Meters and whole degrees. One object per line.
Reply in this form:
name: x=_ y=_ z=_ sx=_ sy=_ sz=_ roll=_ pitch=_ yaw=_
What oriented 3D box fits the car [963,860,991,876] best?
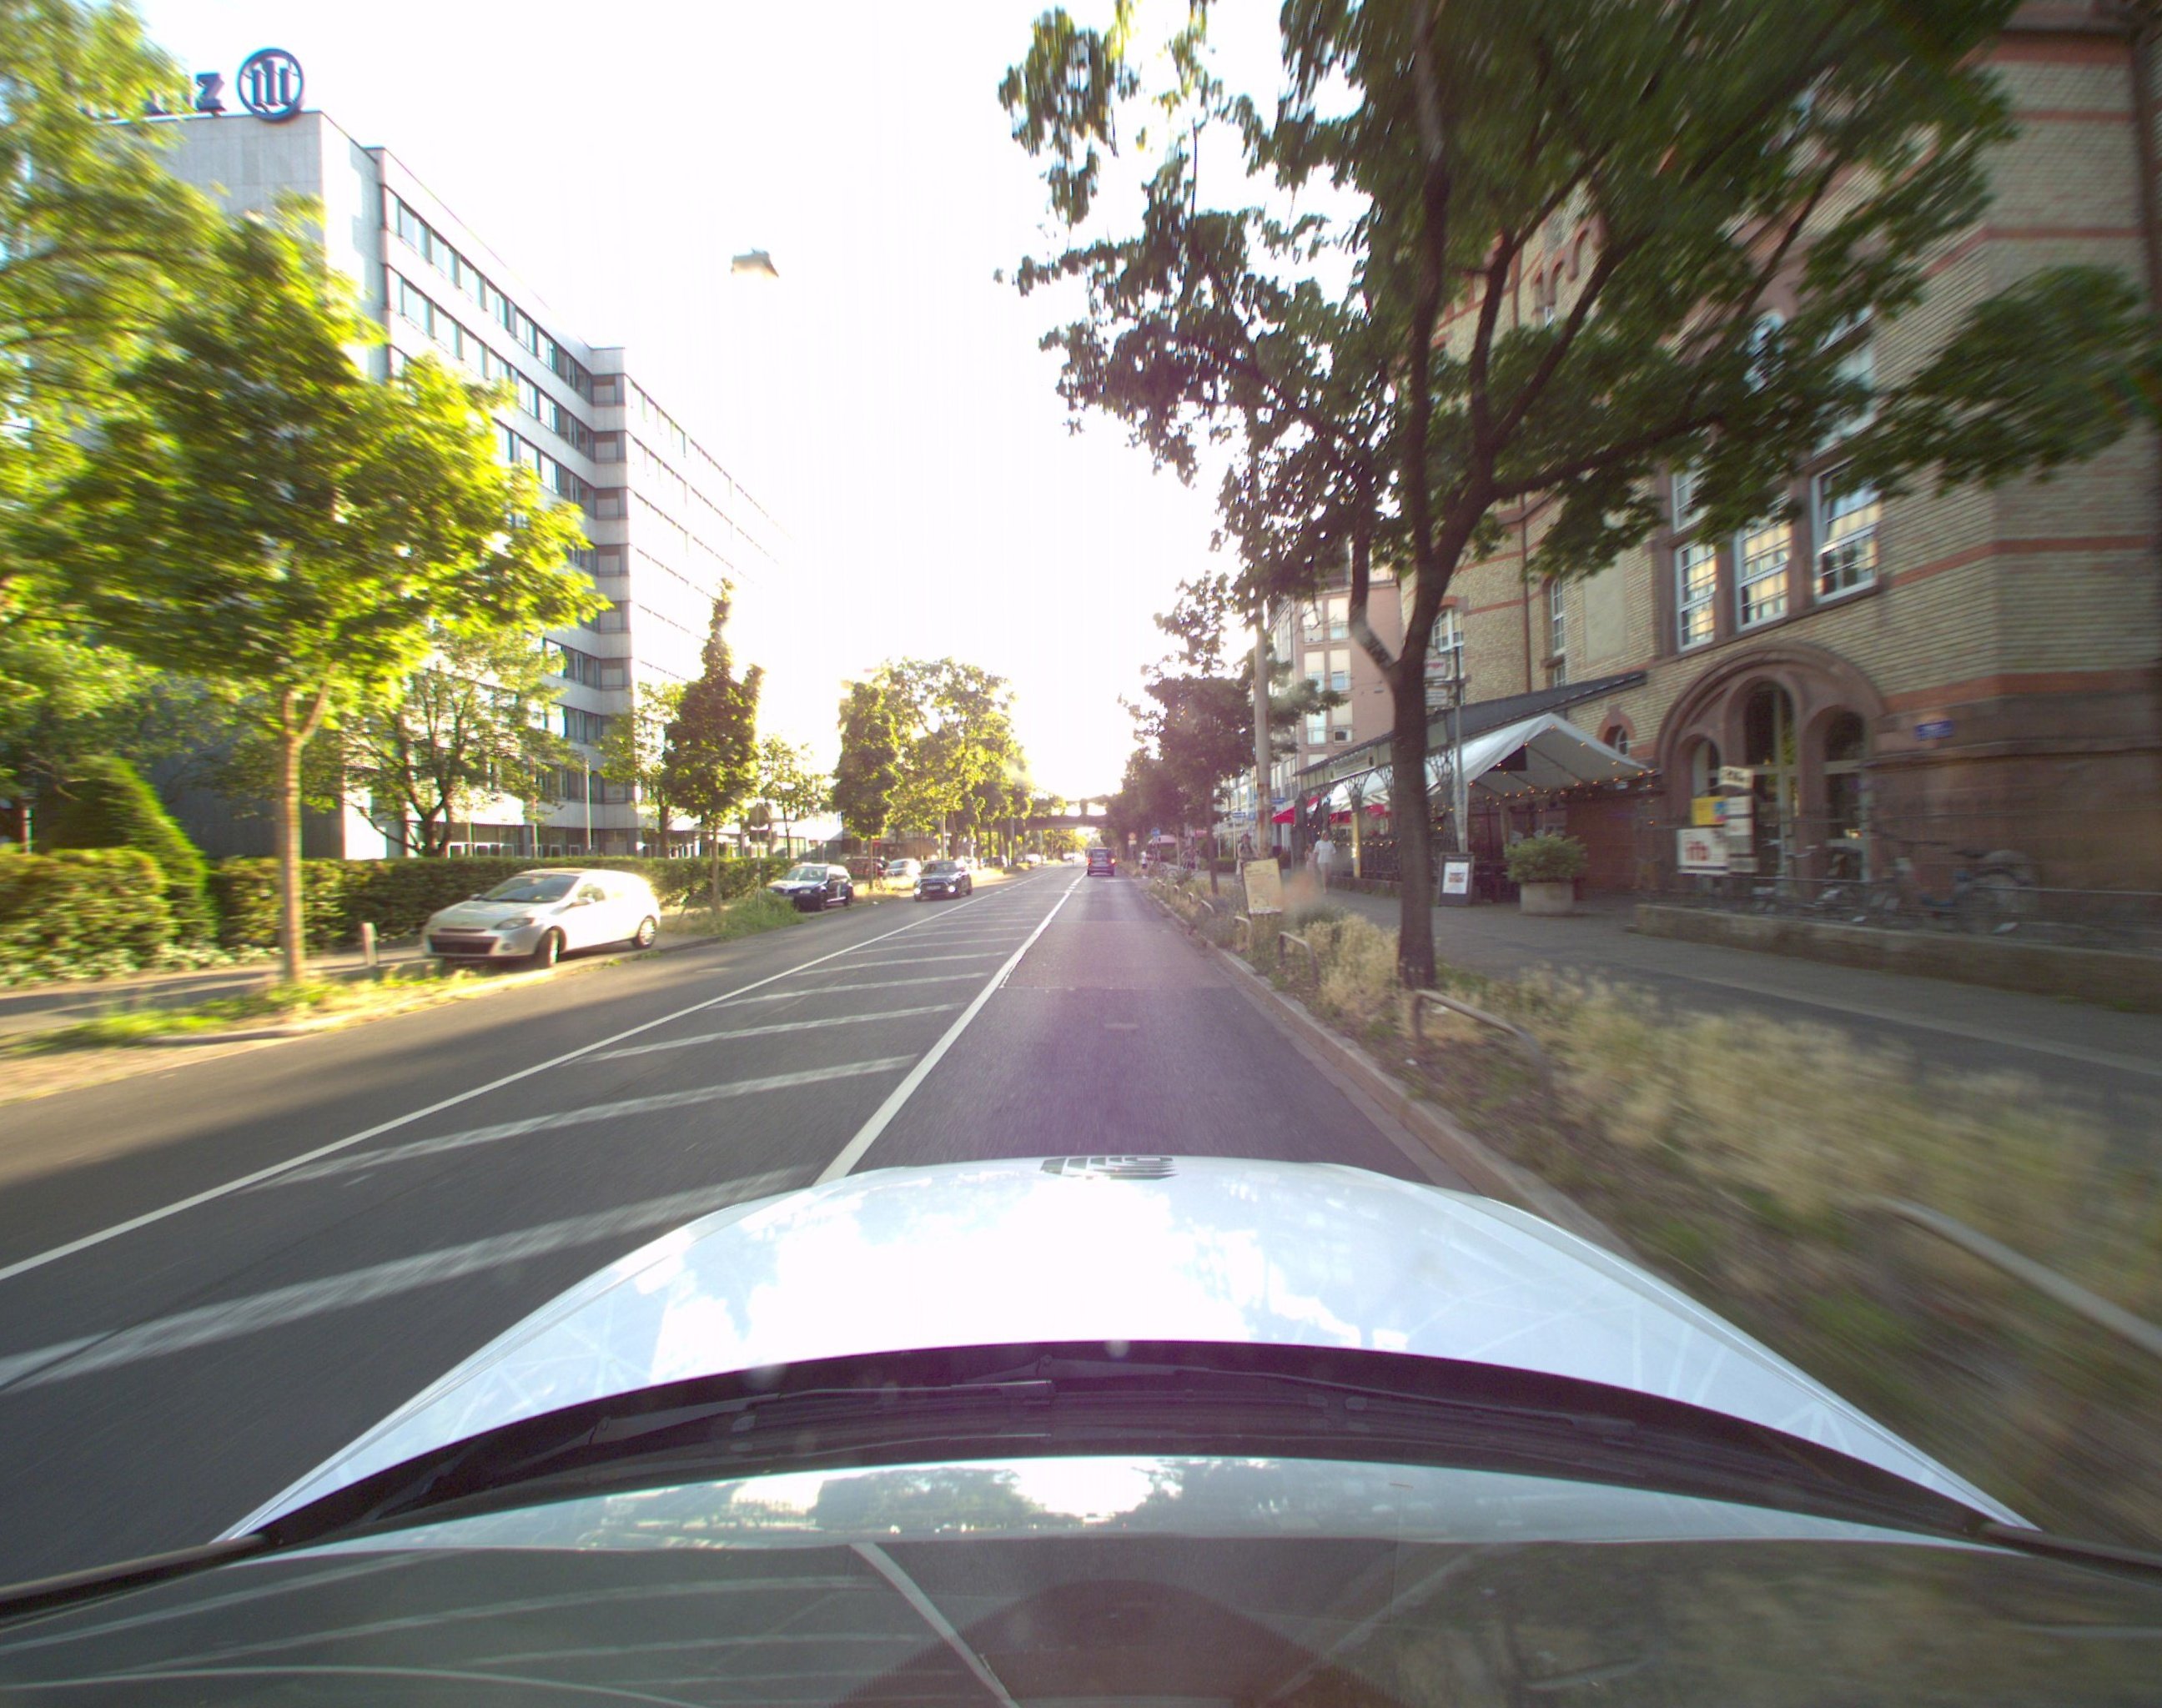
car: x=-9.924 y=1.343 z=77.747 sx=1.986 sy=1.414 sz=4.238 roll=0 pitch=0 yaw=1

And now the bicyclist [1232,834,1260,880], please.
bicyclist: x=4.548 y=0.084 z=22.476 sx=0.583 sy=1.236 sz=1.112 roll=0 pitch=0 yaw=1

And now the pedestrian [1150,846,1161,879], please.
pedestrian: x=4.321 y=0.501 z=47.326 sx=0.505 sy=1.889 sz=0.543 roll=0 pitch=0 yaw=-14

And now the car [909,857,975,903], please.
car: x=-5.245 y=0.938 z=31.223 sx=1.673 sy=1.530 sz=4.001 roll=-3 pitch=0 yaw=1

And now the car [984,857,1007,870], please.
car: x=-9.627 y=1.007 z=91.927 sx=1.986 sy=1.414 sz=4.238 roll=0 pitch=0 yaw=1

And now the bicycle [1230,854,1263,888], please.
bicycle: x=4.546 y=0.442 z=22.443 sx=0.577 sy=0.897 sz=1.988 roll=0 pitch=0 yaw=2

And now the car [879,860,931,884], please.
car: x=-10.223 y=1.036 z=47.596 sx=1.986 sy=1.310 sz=4.067 roll=0 pitch=0 yaw=1

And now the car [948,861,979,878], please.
car: x=-10.181 y=1.331 z=70.934 sx=1.986 sy=1.414 sz=4.238 roll=0 pitch=0 yaw=1

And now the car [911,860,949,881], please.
car: x=-10.045 y=1.060 z=54.518 sx=1.665 sy=1.314 sz=3.966 roll=0 pitch=0 yaw=1

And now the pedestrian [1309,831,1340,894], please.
pedestrian: x=6.353 y=0.217 z=21.283 sx=0.642 sy=1.633 sz=0.656 roll=0 pitch=0 yaw=1

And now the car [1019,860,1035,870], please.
car: x=-8.283 y=1.667 z=125.671 sx=1.986 sy=1.414 sz=4.238 roll=0 pitch=0 yaw=1

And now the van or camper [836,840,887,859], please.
van or camper: x=-31.027 y=-0.621 z=115.402 sx=6.543 sy=2.522 sz=2.448 roll=0 pitch=0 yaw=-1

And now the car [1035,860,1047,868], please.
car: x=-7.653 y=1.976 z=157.487 sx=1.986 sy=1.414 sz=4.238 roll=0 pitch=0 yaw=1

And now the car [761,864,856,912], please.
car: x=-8.580 y=1.027 z=25.957 sx=1.632 sy=1.385 sz=4.000 roll=0 pitch=0 yaw=0

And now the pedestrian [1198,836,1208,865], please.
pedestrian: x=10.541 y=-0.291 z=70.322 sx=0.712 sy=2.539 sz=0.824 roll=0 pitch=0 yaw=1

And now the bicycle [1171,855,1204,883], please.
bicycle: x=4.751 y=0.652 z=36.109 sx=0.541 sy=1.226 sz=2.000 roll=0 pitch=0 yaw=37

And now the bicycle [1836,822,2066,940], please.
bicycle: x=8.630 y=0.258 z=8.116 sx=1.726 sy=1.137 sz=0.493 roll=0 pitch=0 yaw=2

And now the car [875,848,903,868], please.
car: x=-22.898 y=0.499 z=97.358 sx=1.986 sy=2.307 sz=5.247 roll=0 pitch=0 yaw=2

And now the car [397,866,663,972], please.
car: x=-8.875 y=0.953 z=13.604 sx=1.691 sy=1.451 sz=4.000 roll=0 pitch=0 yaw=0

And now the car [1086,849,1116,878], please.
car: x=1.416 y=0.628 z=56.380 sx=1.880 sy=1.925 sz=3.841 roll=-2 pitch=0 yaw=2

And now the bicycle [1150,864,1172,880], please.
bicycle: x=4.704 y=1.043 z=48.108 sx=0.590 sy=0.897 sz=1.975 roll=0 pitch=0 yaw=-18

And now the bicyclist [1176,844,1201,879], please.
bicyclist: x=4.771 y=0.327 z=36.110 sx=0.744 sy=1.558 sz=0.944 roll=0 pitch=0 yaw=38

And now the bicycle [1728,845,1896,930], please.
bicycle: x=8.385 y=0.369 z=9.374 sx=1.439 sy=0.946 sz=0.535 roll=0 pitch=0 yaw=2

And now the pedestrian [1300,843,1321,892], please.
pedestrian: x=6.388 y=0.361 z=22.670 sx=0.465 sy=1.350 sz=0.530 roll=0 pitch=0 yaw=1

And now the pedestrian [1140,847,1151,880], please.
pedestrian: x=3.760 y=0.560 z=47.794 sx=0.505 sy=1.889 sz=0.543 roll=0 pitch=0 yaw=-14
